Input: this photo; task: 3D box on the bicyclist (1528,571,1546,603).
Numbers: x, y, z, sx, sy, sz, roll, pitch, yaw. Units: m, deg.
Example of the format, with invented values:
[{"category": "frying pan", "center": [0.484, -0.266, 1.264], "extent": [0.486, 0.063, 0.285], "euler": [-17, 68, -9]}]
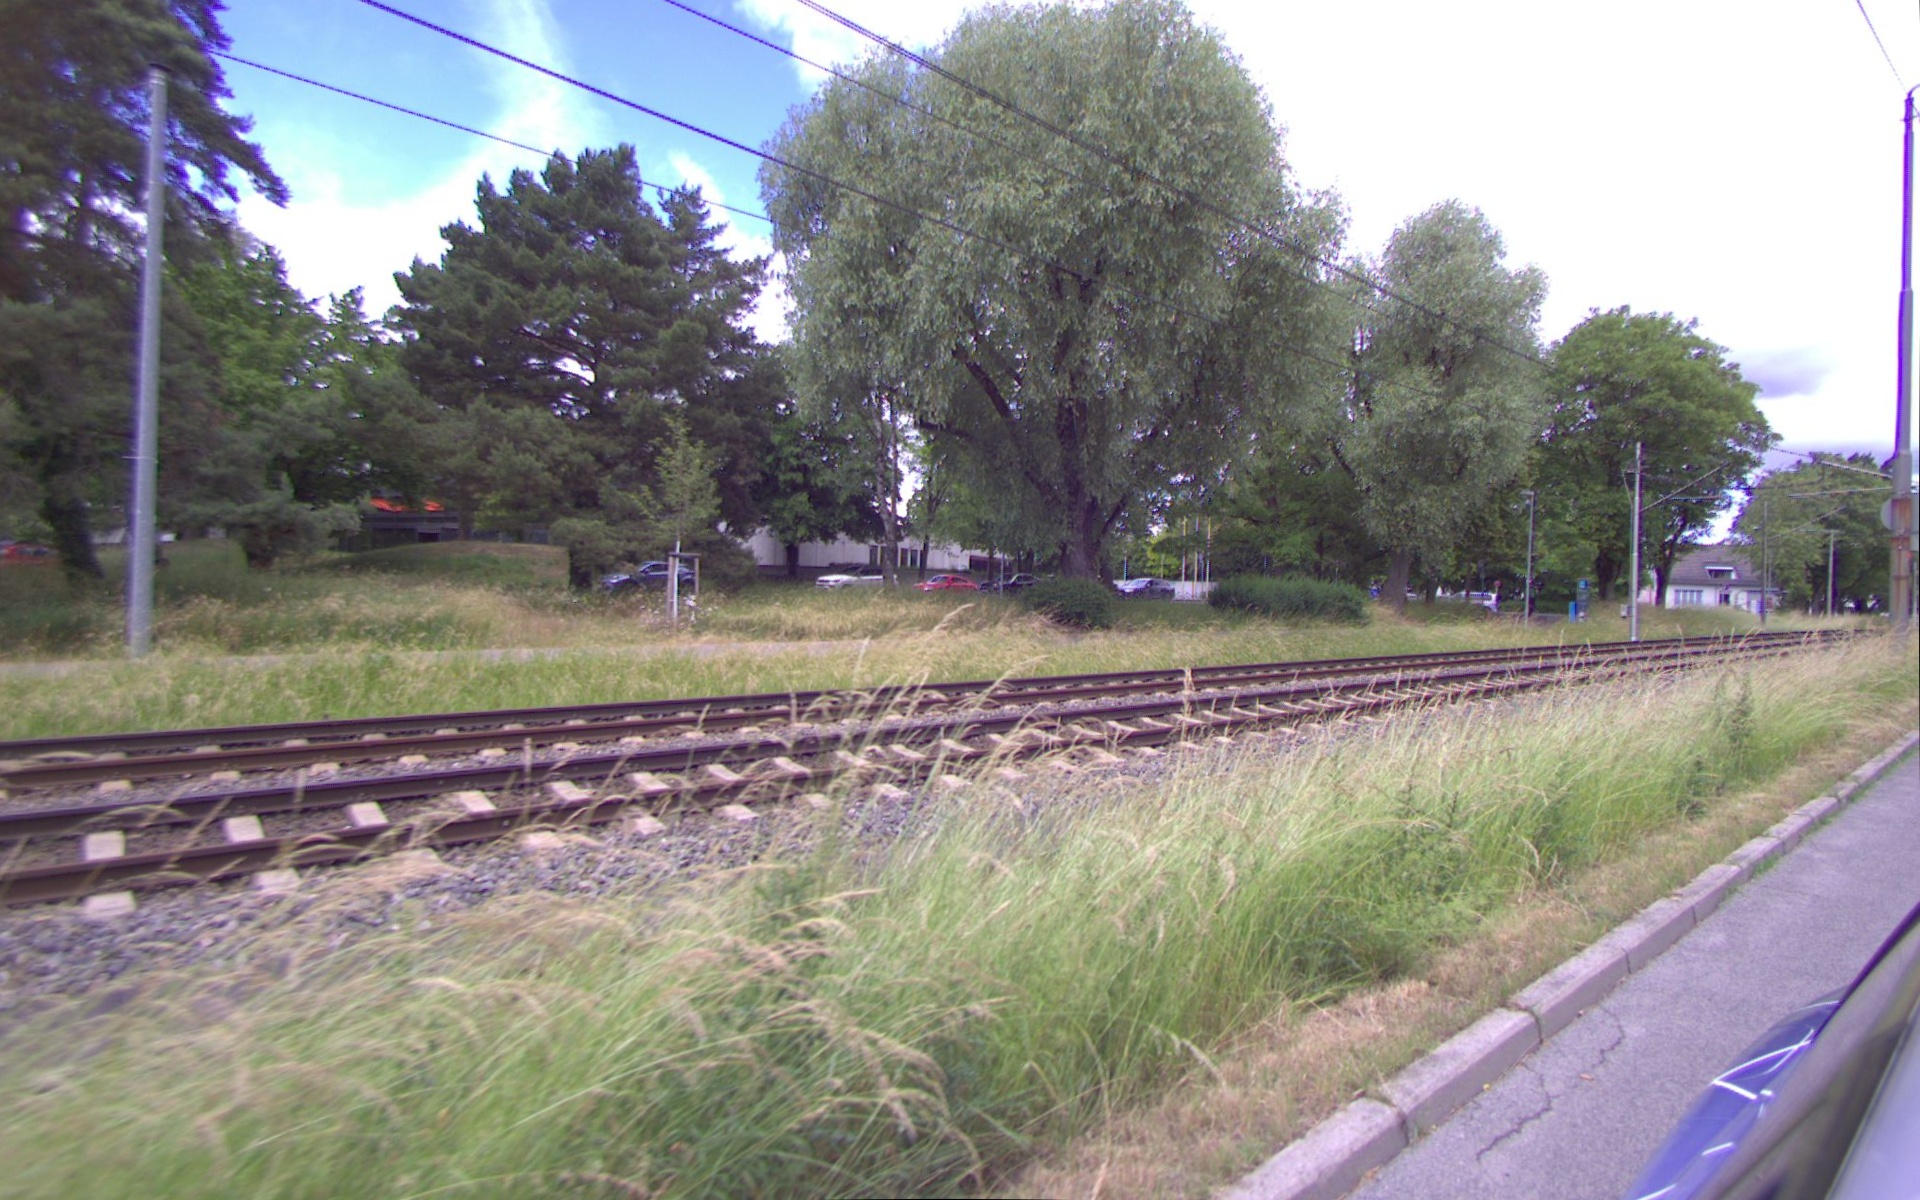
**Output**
[{"category": "bicyclist", "center": [30.824, -0.684, 54.055], "extent": [0.920, 1.717, 0.581], "euler": [0, 1, -44]}]

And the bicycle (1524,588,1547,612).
[{"category": "bicycle", "center": [30.682, 0.008, 53.924], "extent": [1.897, 1.262, 0.581], "euler": [0, 1, -45]}]

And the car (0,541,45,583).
[{"category": "car", "center": [-41.528, -1.621, 42.845], "extent": [1.811, 1.755, 3.784], "euler": [1, 0, 24]}]

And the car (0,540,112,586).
[{"category": "car", "center": [-37.147, -1.476, 41.090], "extent": [1.811, 1.755, 3.784], "euler": [1, 0, 24]}]

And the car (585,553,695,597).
[{"category": "car", "center": [-13.243, -1.006, 41.957], "extent": [3.927, 1.721, 1.998], "euler": [0, 0, -39]}]

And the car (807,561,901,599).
[{"category": "car", "center": [-5.121, -0.934, 49.043], "extent": [4.154, 1.721, 1.997], "euler": [0, 0, -41]}]

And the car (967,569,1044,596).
[{"category": "car", "center": [2.513, -0.950, 55.564], "extent": [3.930, 1.461, 1.997], "euler": [0, 1, -41]}]

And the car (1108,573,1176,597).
[{"category": "car", "center": [11.461, -0.915, 63.568], "extent": [4.270, 1.461, 1.997], "euler": [0, 1, -41]}]

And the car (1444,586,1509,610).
[{"category": "car", "center": [42.344, -0.178, 83.062], "extent": [4.667, 1.884, 1.900], "euler": [2, 1, 27]}]

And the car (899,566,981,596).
[{"category": "car", "center": [-1.020, -0.983, 52.563], "extent": [3.930, 1.461, 1.997], "euler": [0, 1, -41]}]
